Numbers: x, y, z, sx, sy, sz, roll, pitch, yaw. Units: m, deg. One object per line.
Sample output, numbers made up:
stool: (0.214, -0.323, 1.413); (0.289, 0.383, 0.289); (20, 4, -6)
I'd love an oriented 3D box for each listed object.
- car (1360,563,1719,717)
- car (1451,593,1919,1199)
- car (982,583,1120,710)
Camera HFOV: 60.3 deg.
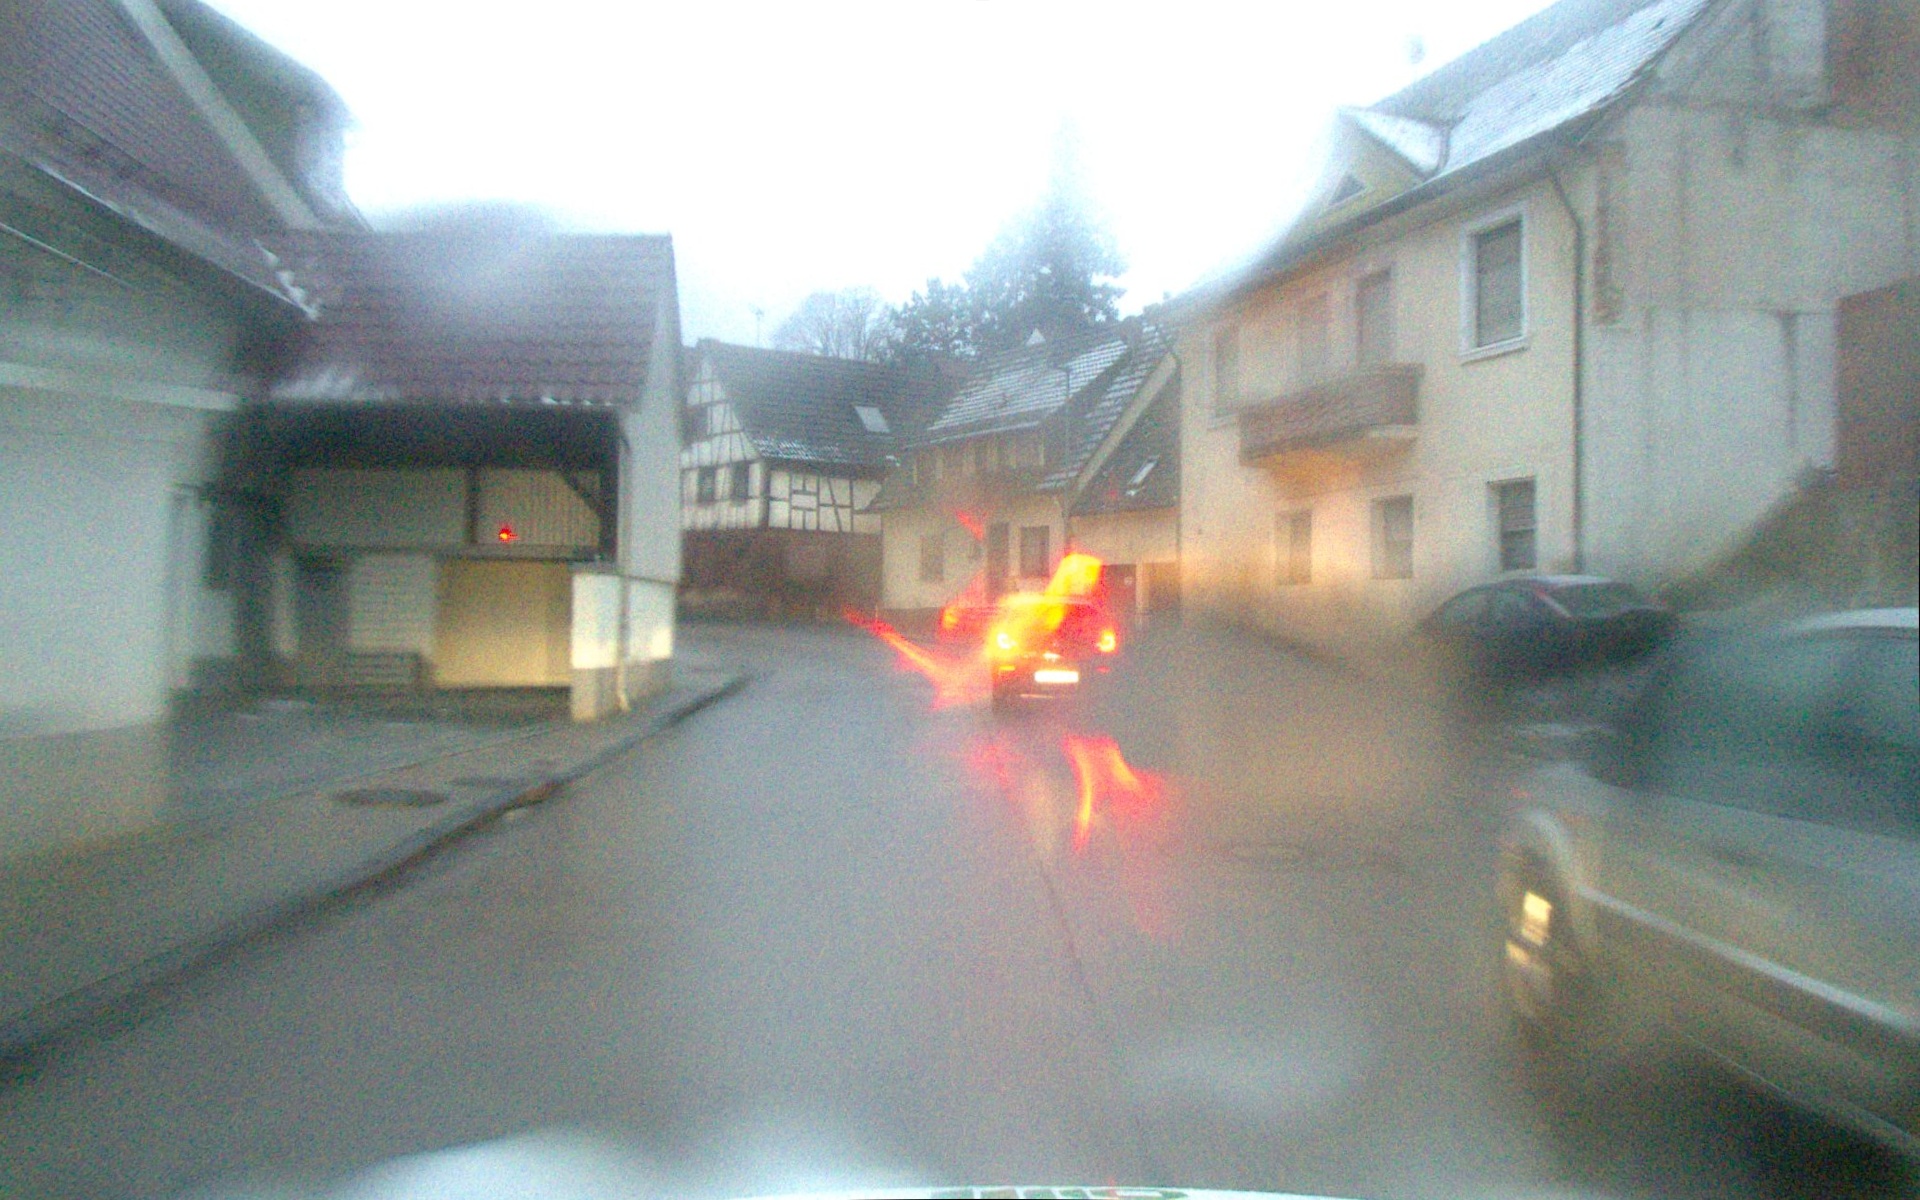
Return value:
car: (6.527, 0.445, 19.179); (1.777, 1.513, 4.259); (-2, -1, -16)
car: (2.824, 0.772, 4.468); (1.605, 1.520, 3.998); (2, 0, -3)
car: (1.117, 0.555, 21.731); (1.514, 1.491, 3.698); (2, 0, -1)
